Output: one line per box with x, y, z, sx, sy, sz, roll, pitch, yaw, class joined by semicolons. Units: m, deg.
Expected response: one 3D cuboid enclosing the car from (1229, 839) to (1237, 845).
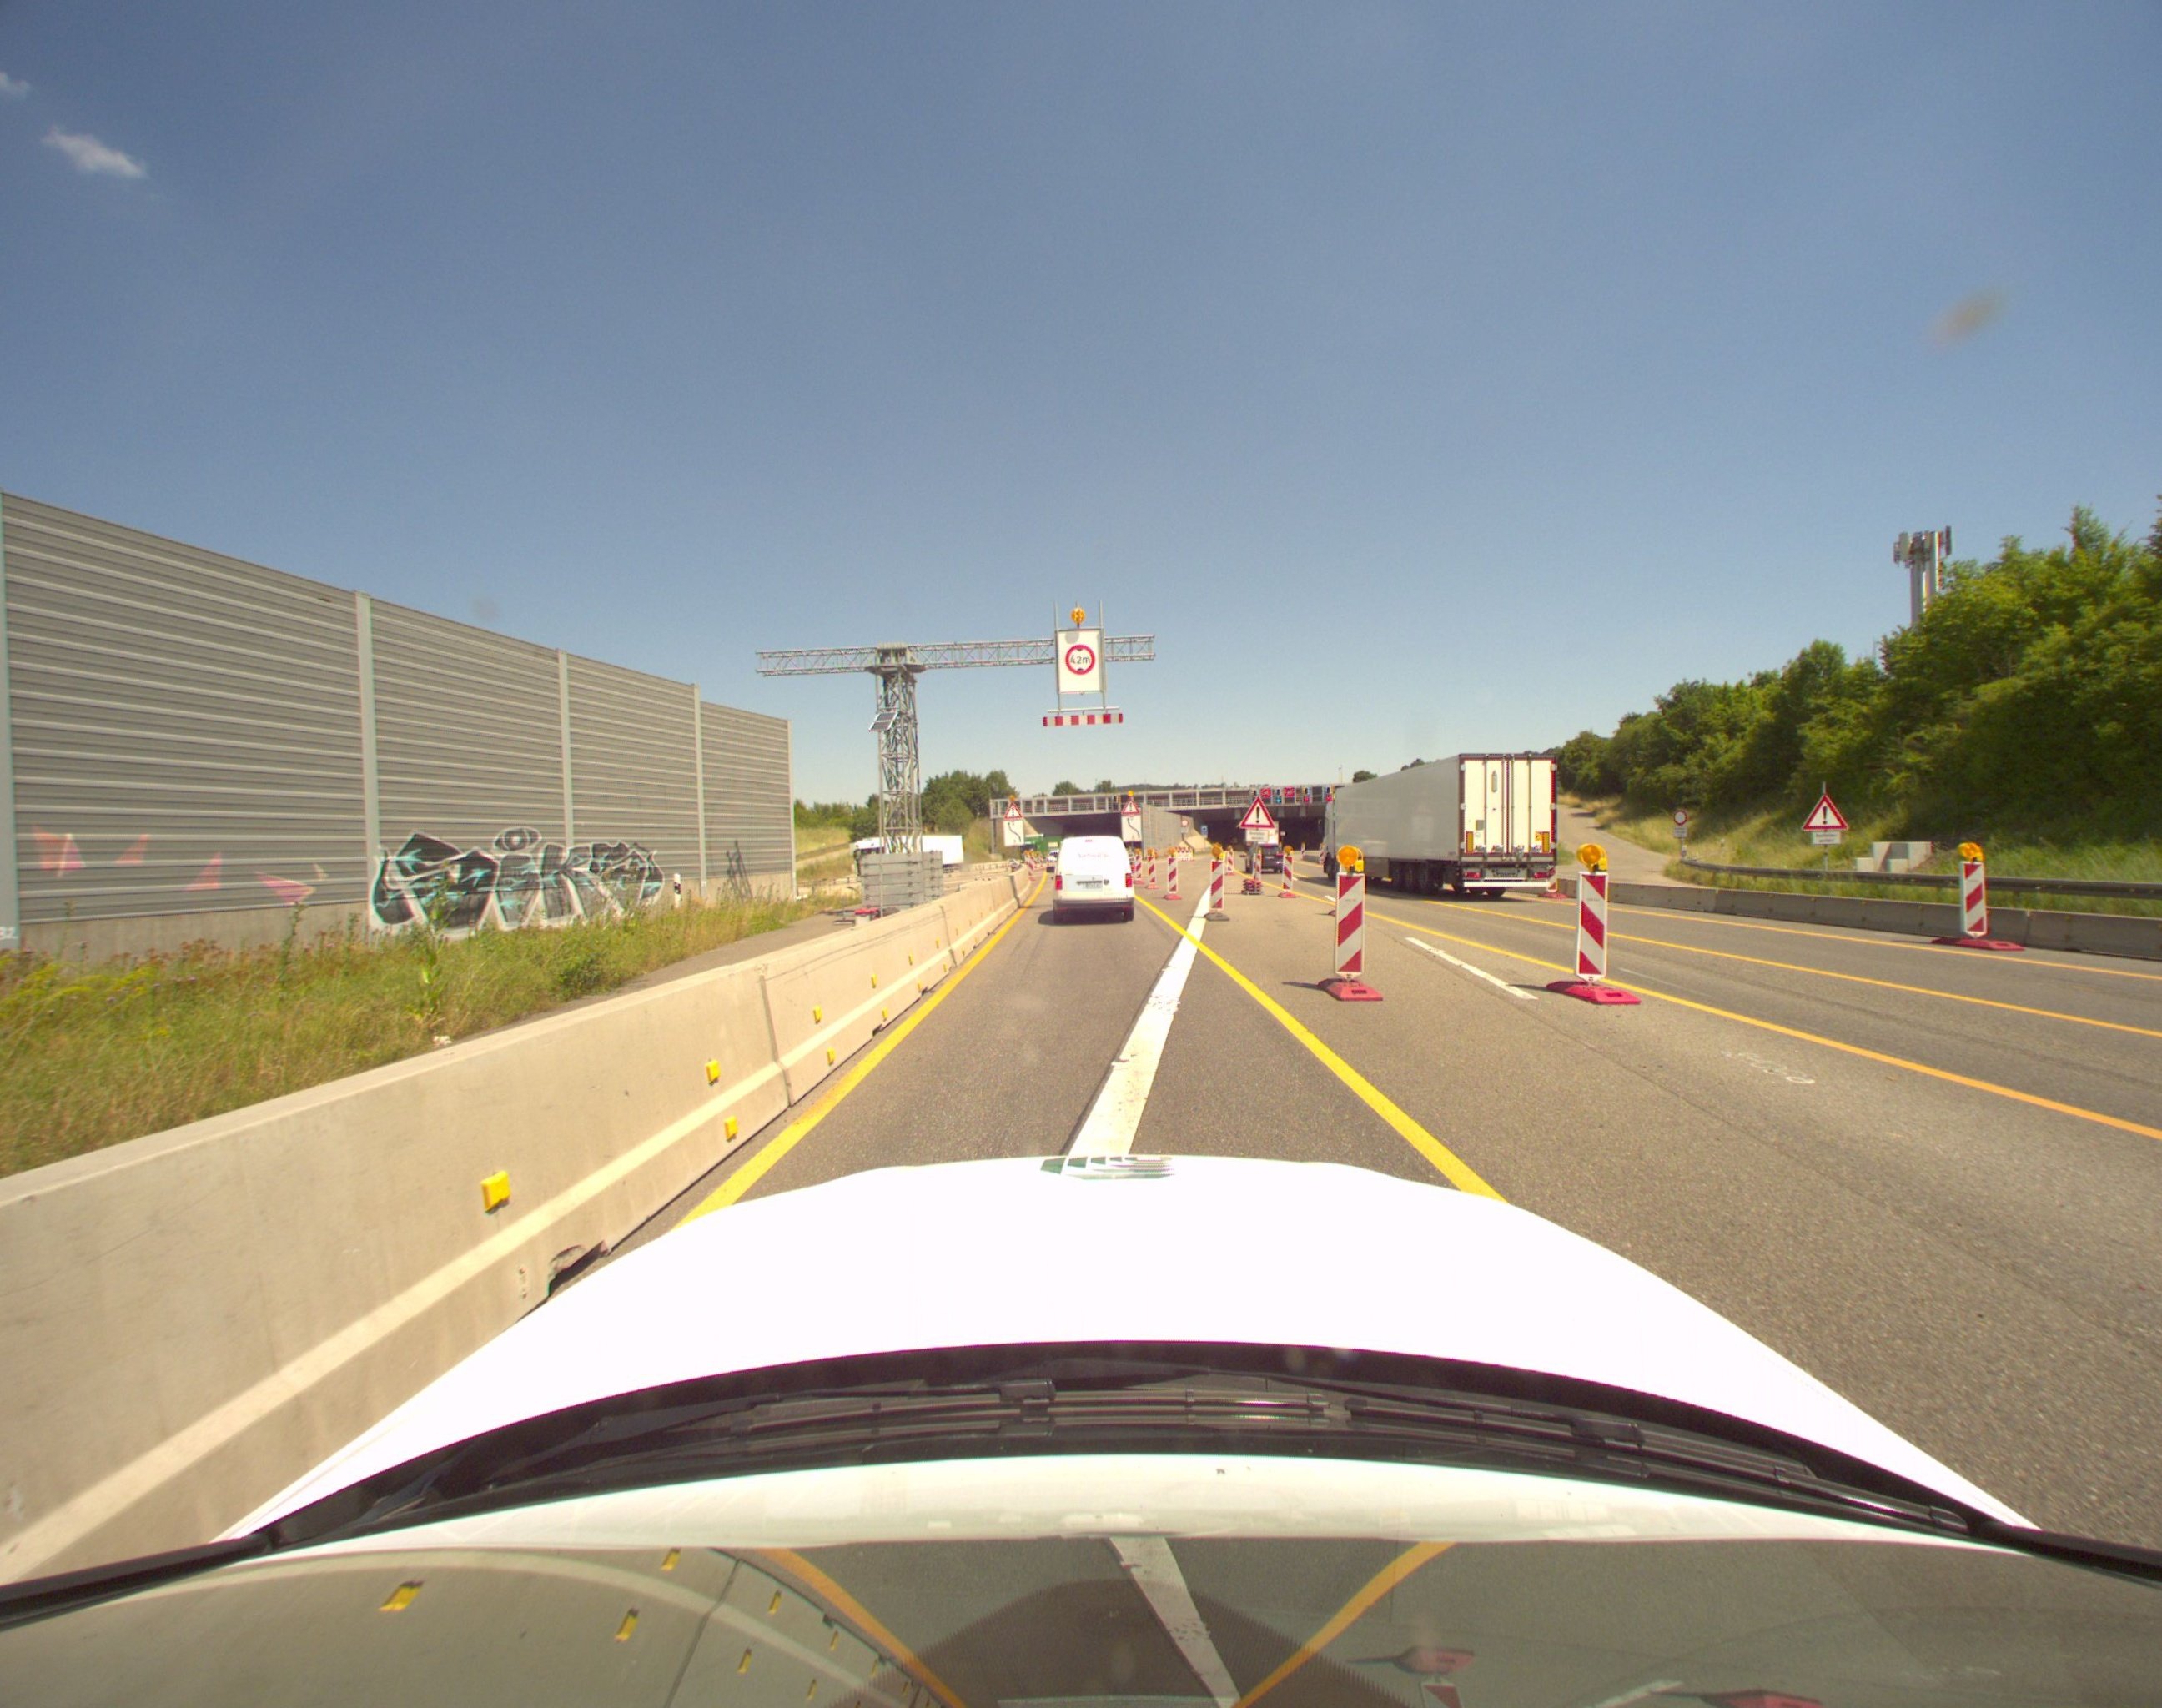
39.661;-3.089;212.982;1.804;1.630;4.200;0;0;8;car

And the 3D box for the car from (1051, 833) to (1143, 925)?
0.309;0.508;18.510;1.803;1.794;3.730;-3;0;-1;car

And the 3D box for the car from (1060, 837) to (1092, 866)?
-0.468;-0.184;82.039;2.802;2.773;7.105;-1;-1;2;car

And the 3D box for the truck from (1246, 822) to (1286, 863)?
21.280;-1.175;94.670;3.382;4.335;16.575;0;-1;9;truck

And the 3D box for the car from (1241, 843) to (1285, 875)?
9.917;0.249;44.621;1.806;1.630;4.196;0;0;5;car

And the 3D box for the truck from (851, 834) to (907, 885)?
-18.069;0.463;73.191;2.642;4.500;4.866;-1;0;19;truck

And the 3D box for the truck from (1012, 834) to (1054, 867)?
-6.417;-0.430;109.633;3.515;4.270;5.809;-1;0;21;truck

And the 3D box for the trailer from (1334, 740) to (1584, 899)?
11.868;-0.894;27.927;2.721;4.062;14.106;0;0;3;trailer

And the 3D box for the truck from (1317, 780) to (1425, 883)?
12.238;-0.884;34.930;2.734;4.033;5.931;0;0;3;truck

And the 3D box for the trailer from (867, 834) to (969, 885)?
-15.649;0.415;80.252;2.642;4.500;15.002;-1;0;19;trailer

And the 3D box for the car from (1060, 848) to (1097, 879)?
-0.191;0.483;43.995;1.804;1.537;4.405;-3;0;-2;car

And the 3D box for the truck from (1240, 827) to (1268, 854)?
28.112;-2.062;133.127;3.382;4.071;16.576;0;0;9;truck

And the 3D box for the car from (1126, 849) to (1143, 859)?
8.556;-0.011;129.335;1.702;1.623;4.190;-2;0;18;car

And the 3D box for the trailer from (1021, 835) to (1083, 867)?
-3.903;-0.482;116.080;3.515;4.270;13.981;-1;0;21;trailer

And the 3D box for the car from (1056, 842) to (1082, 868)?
-0.852;0.094;61.880;1.803;1.815;4.409;-3;0;0;car
